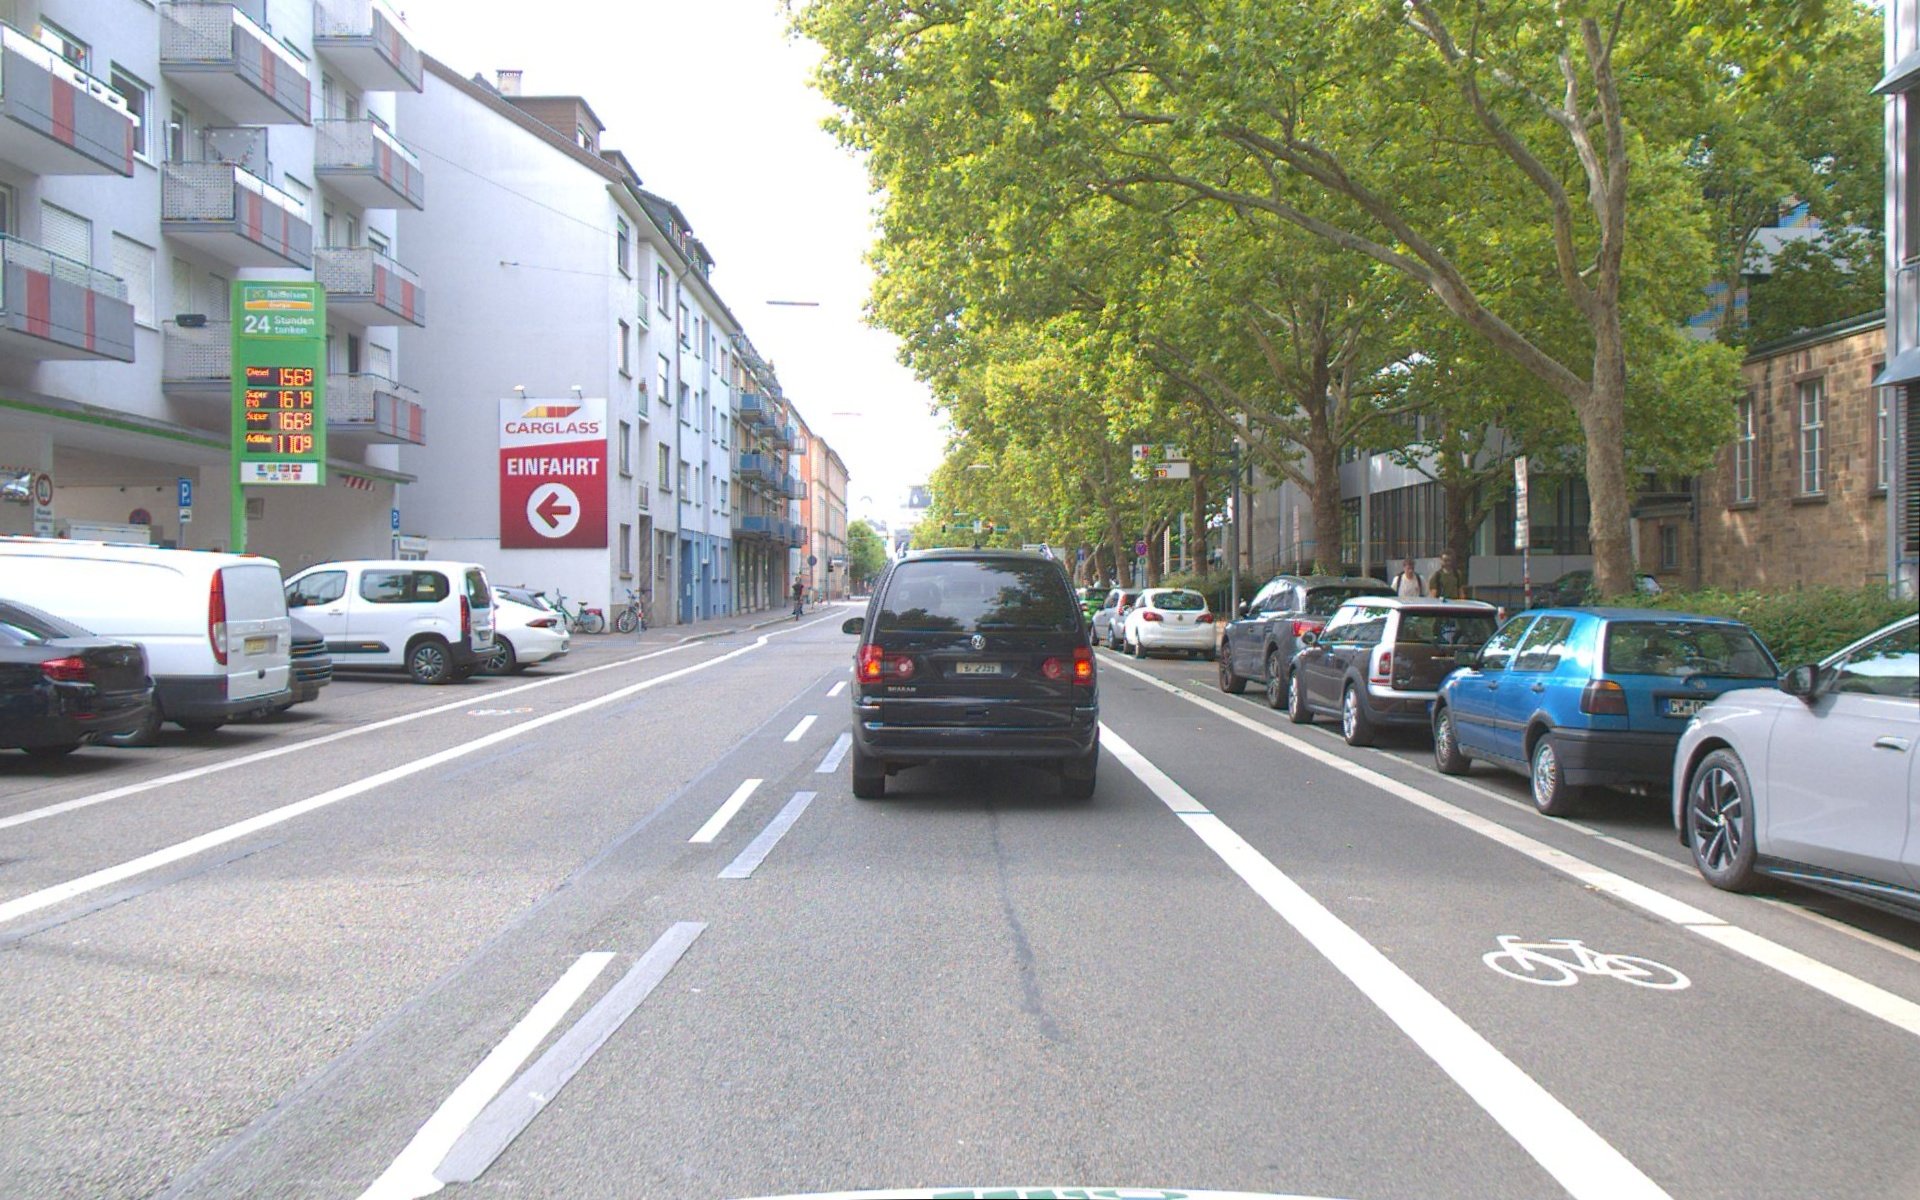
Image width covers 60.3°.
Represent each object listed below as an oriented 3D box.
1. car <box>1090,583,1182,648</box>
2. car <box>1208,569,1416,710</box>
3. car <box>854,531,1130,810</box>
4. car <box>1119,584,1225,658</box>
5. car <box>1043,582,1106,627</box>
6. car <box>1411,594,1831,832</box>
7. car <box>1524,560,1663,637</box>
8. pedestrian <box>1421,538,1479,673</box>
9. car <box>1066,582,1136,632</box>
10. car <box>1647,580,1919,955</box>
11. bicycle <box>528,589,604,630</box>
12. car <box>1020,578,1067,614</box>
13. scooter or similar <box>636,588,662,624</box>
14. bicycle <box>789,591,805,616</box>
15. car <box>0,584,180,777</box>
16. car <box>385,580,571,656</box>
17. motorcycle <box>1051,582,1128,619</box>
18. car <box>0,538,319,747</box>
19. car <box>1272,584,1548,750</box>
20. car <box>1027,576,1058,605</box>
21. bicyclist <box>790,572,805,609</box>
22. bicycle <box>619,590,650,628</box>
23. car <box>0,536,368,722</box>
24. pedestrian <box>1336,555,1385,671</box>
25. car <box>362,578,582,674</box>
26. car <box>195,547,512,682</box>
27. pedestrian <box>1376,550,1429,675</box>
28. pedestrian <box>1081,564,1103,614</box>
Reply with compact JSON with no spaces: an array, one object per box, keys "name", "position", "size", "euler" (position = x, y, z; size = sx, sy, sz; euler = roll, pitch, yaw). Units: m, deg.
[{"name":"car","position":[4.238,0.335,40.251],"size":[1.609,1.438,3.413],"euler":[2,1,-5]},{"name":"car","position":[4.647,0.439,22.511],"size":[1.635,1.669,4.502],"euler":[2,1,-3]},{"name":"car","position":[0.095,0.434,12.563],"size":[1.776,1.797,3.735],"euler":[0,1,-4]},{"name":"car","position":[4.524,0.405,35.888],"size":[1.641,1.418,4.461],"euler":[2,1,-1]},{"name":"car","position":[3.919,0.136,57.035],"size":[1.609,1.419,3.510],"euler":[2,1,-5]},{"name":"car","position":[4.804,0.720,12.654],"size":[1.588,1.410,4.000],"euler":[2,1,0]},{"name":"car","position":[13.707,-0.068,35.995],"size":[1.442,1.483,3.917],"euler":[1,2,-1]},{"name":"pedestrian","position":[7.445,0.068,25.150],"size":[0.629,2.009,0.692],"euler":[1,2,0]},{"name":"car","position":[4.383,0.204,51.745],"size":[1.609,1.438,3.413],"euler":[2,1,-5]},{"name":"car","position":[4.816,0.704,6.947],"size":[1.693,1.543,4.870],"euler":[1,1,-2]},{"name":"bicycle","position":[-10.786,0.255,45.338],"size":[1.967,1.052,0.410],"euler":[1,2,0]},{"name":"car","position":[3.592,-0.188,71.802],"size":[1.609,1.513,3.510],"euler":[0,1,-5]},{"name":"scooter or similar","position":[-9.348,0.197,49.795],"size":[0.619,1.052,2.012],"euler":[1,-1,-7]},{"name":"bicycle","position":[-7.348,0.175,74.702],"size":[0.618,1.052,2.013],"euler":[1,-2,-3]},{"name":"car","position":[-8.867,0.609,14.062],"size":[3.607,1.469,1.753],"euler":[2,1,-2]},{"name":"car","position":[-9.623,0.346,33.159],"size":[3.276,1.426,1.503],"euler":[1,0,-3]},{"name":"motorcycle","position":[4.747,0.004,60.684],"size":[2.780,1.348,0.765],"euler":[0,1,-1]},{"name":"car","position":[-9.101,0.346,16.667],"size":[4.434,1.911,2.047],"euler":[2,1,0]},{"name":"car","position":[4.534,0.593,17.328],"size":[1.597,1.495,4.316],"euler":[0,1,-2]},{"name":"car","position":[5.332,-0.642,107.465],"size":[1.751,1.802,4.000],"euler":[0,1,-1]},{"name":"bicyclist","position":[-7.379,-0.421,75.153],"size":[0.640,1.639,0.655],"euler":[1,-2,-4]},{"name":"bicycle","position":[-9.226,0.244,46.937],"size":[0.618,1.052,2.014],"euler":[1,1,-4]},{"name":"car","position":[-9.692,0.281,19.271],"size":[4.817,1.936,2.000],"euler":[2,1,-2]},{"name":"pedestrian","position":[6.122,0.193,25.311],"size":[0.575,1.731,0.508],"euler":[1,2,0]},{"name":"car","position":[-8.276,0.424,28.229],"size":[3.276,1.523,1.595],"euler":[1,0,-3]},{"name":"car","position":[-9.360,0.214,25.785],"size":[4.221,1.902,1.823],"euler":[2,1,-3]},{"name":"pedestrian","position":[6.765,0.177,25.304],"size":[0.575,1.870,0.692],"euler":[1,2,0]},{"name":"pedestrian","position":[4.933,-0.425,61.797],"size":[0.751,1.863,0.516],"euler":[0,1,0]}]
